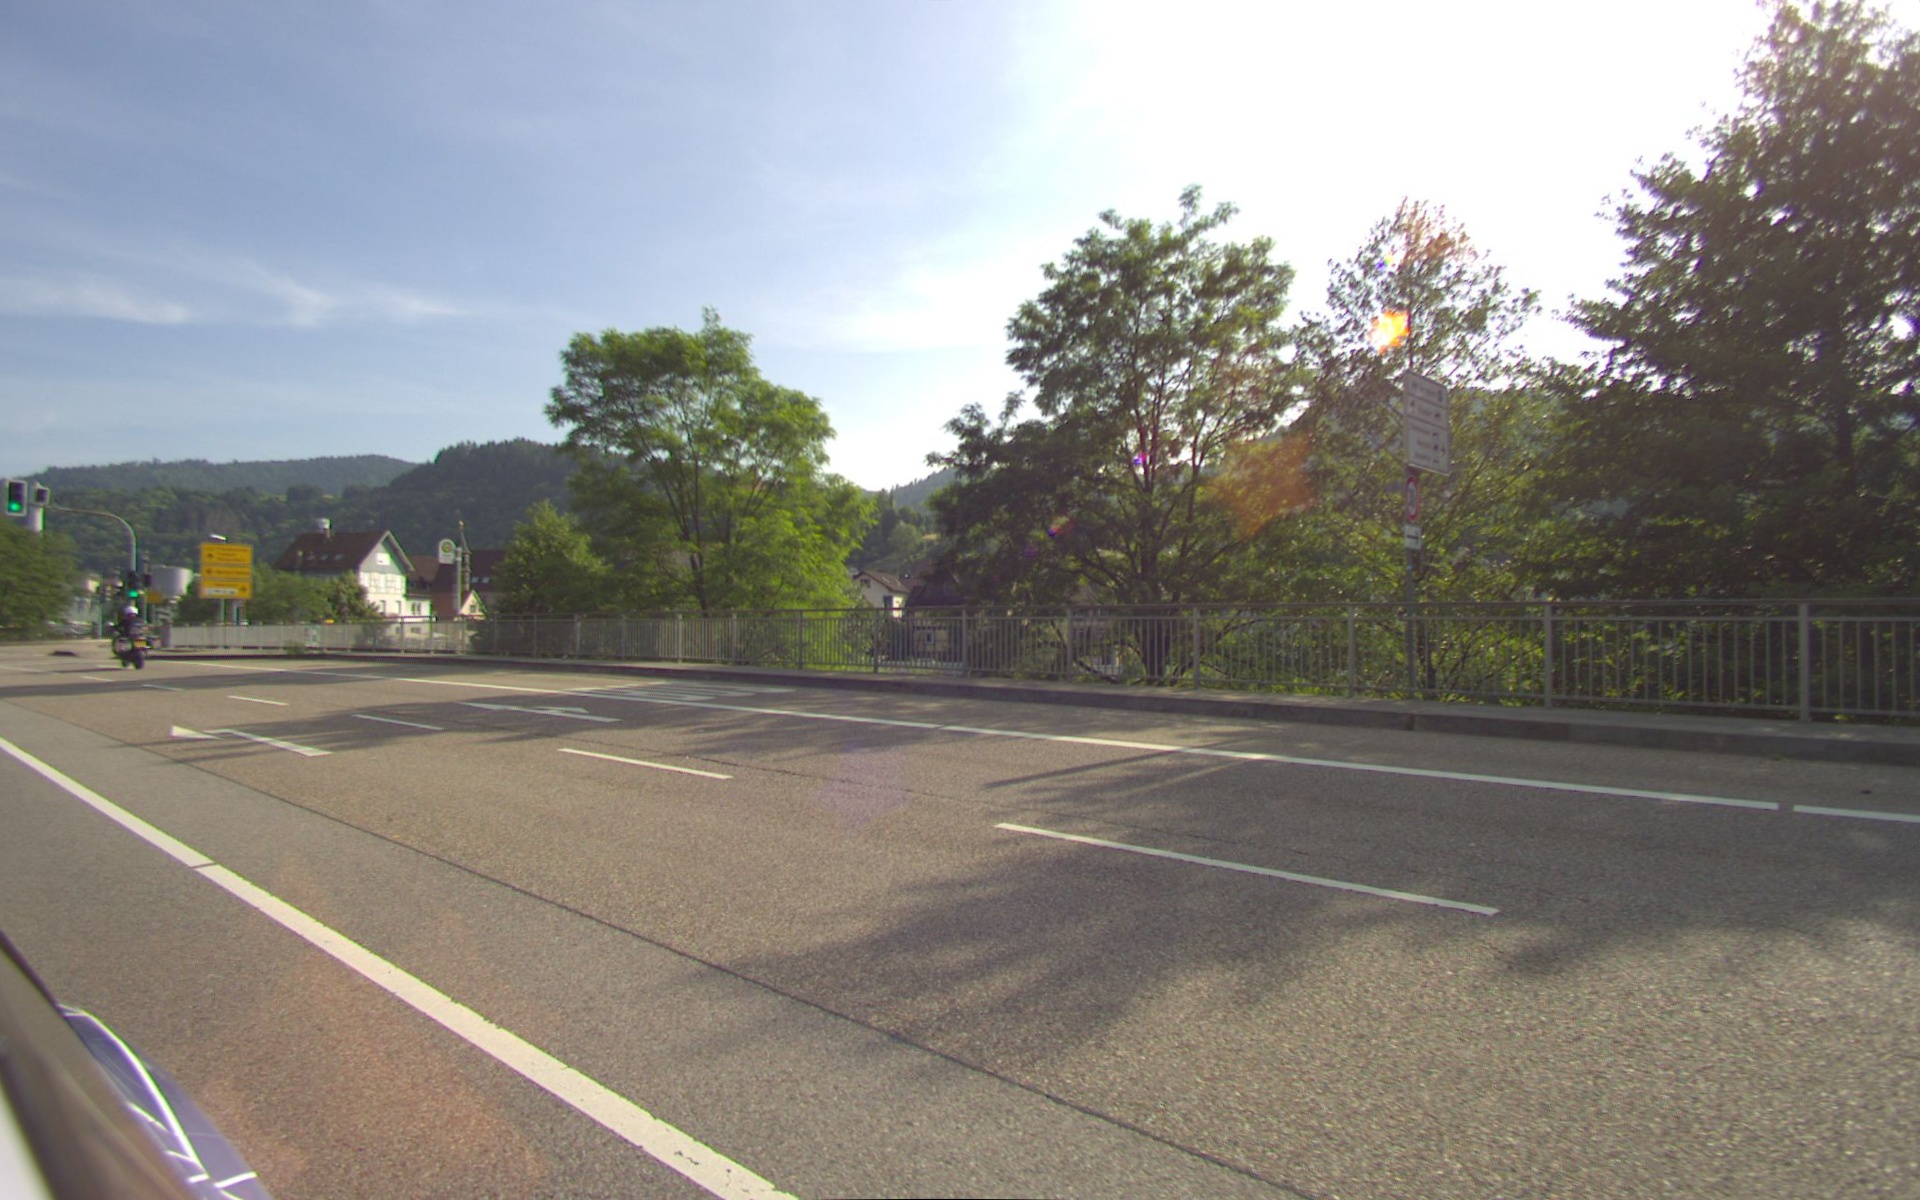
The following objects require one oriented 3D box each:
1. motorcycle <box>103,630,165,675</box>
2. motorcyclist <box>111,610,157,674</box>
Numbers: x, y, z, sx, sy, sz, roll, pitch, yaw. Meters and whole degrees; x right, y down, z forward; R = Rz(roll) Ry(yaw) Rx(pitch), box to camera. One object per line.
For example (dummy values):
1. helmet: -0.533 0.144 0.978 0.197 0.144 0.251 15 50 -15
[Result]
1. motorcycle: -24.140 1.512 29.570 2.570 1.230 0.962 -2 -1 41
2. motorcyclist: -24.130 1.220 29.551 1.171 1.798 0.836 -2 -1 41
